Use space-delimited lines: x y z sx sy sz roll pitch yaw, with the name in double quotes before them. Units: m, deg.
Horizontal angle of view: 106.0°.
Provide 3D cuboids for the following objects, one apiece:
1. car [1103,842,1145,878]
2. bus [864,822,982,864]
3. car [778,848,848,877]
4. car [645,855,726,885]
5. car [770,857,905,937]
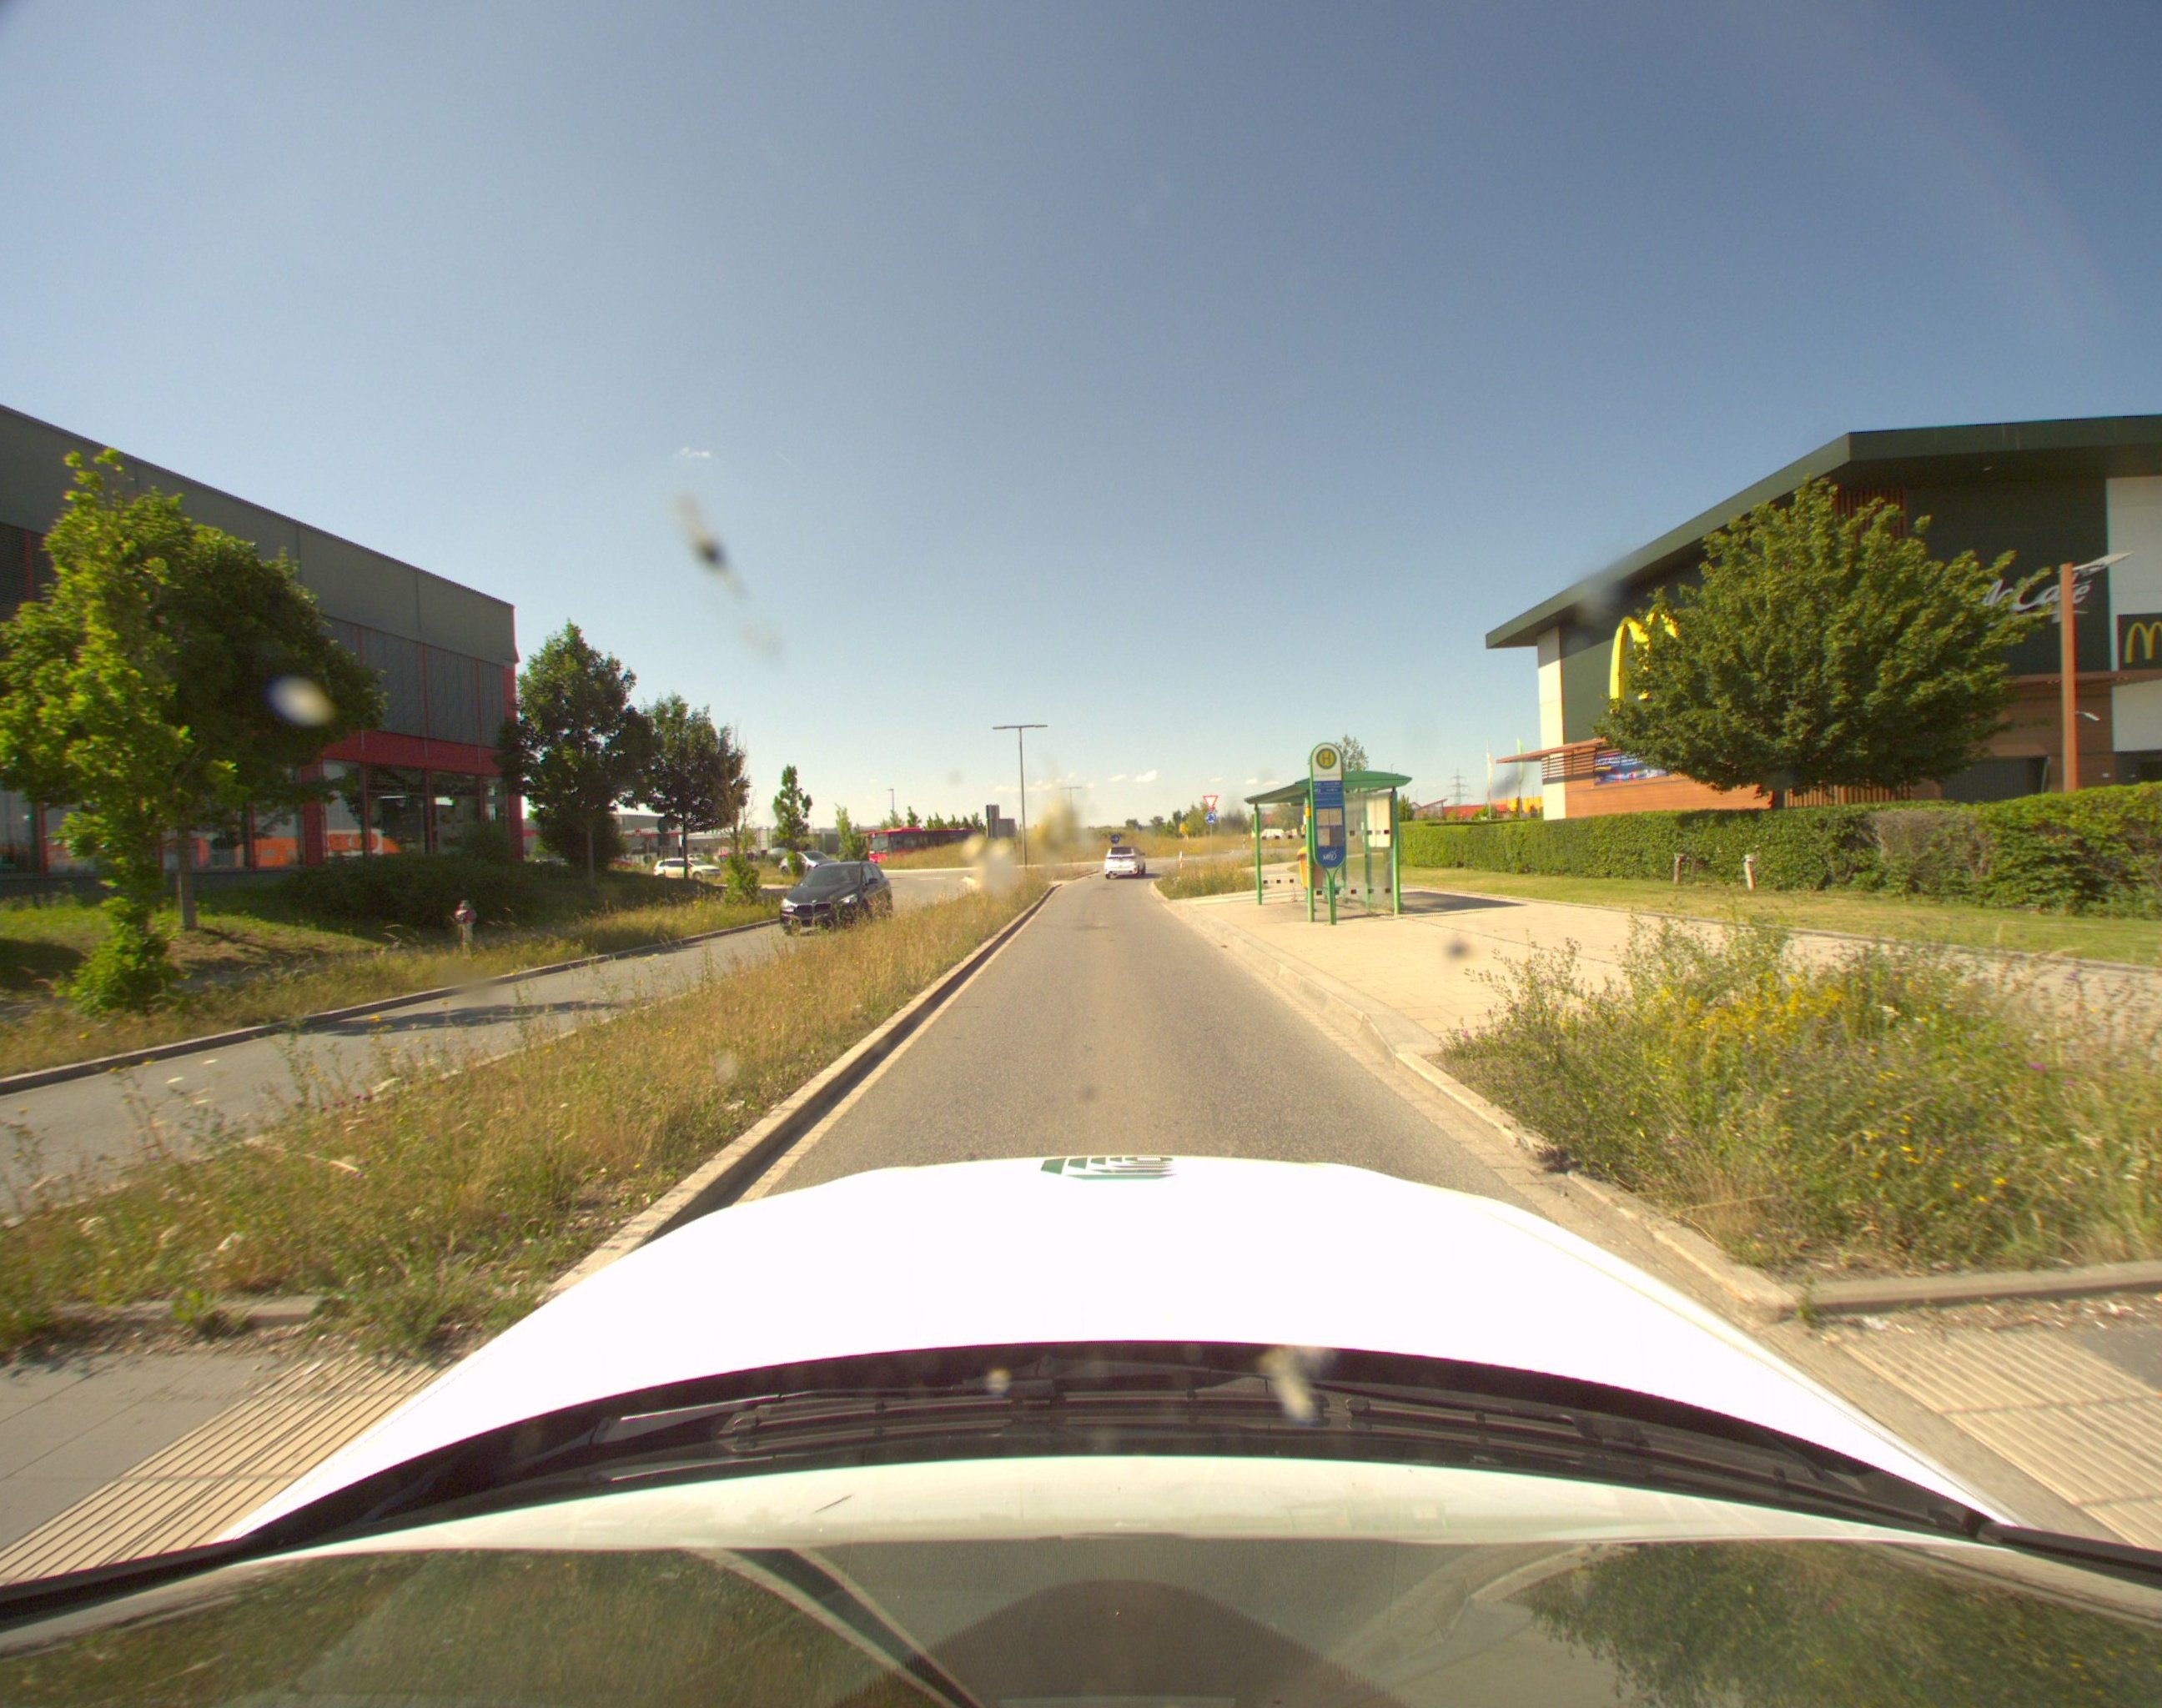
"car" 2.035 0.223 37.866 1.608 1.434 3.801 -2 2 7
"bus" -13.977 -1.129 73.830 2.760 3.078 12.283 -2 2 32
"car" -16.444 0.513 49.882 4.565 1.625 1.976 0 3 41
"car" -26.758 1.053 55.139 4.546 1.665 1.852 -4 2 10
"car" -5.627 0.922 19.404 1.752 1.543 4.241 -4 0 1
